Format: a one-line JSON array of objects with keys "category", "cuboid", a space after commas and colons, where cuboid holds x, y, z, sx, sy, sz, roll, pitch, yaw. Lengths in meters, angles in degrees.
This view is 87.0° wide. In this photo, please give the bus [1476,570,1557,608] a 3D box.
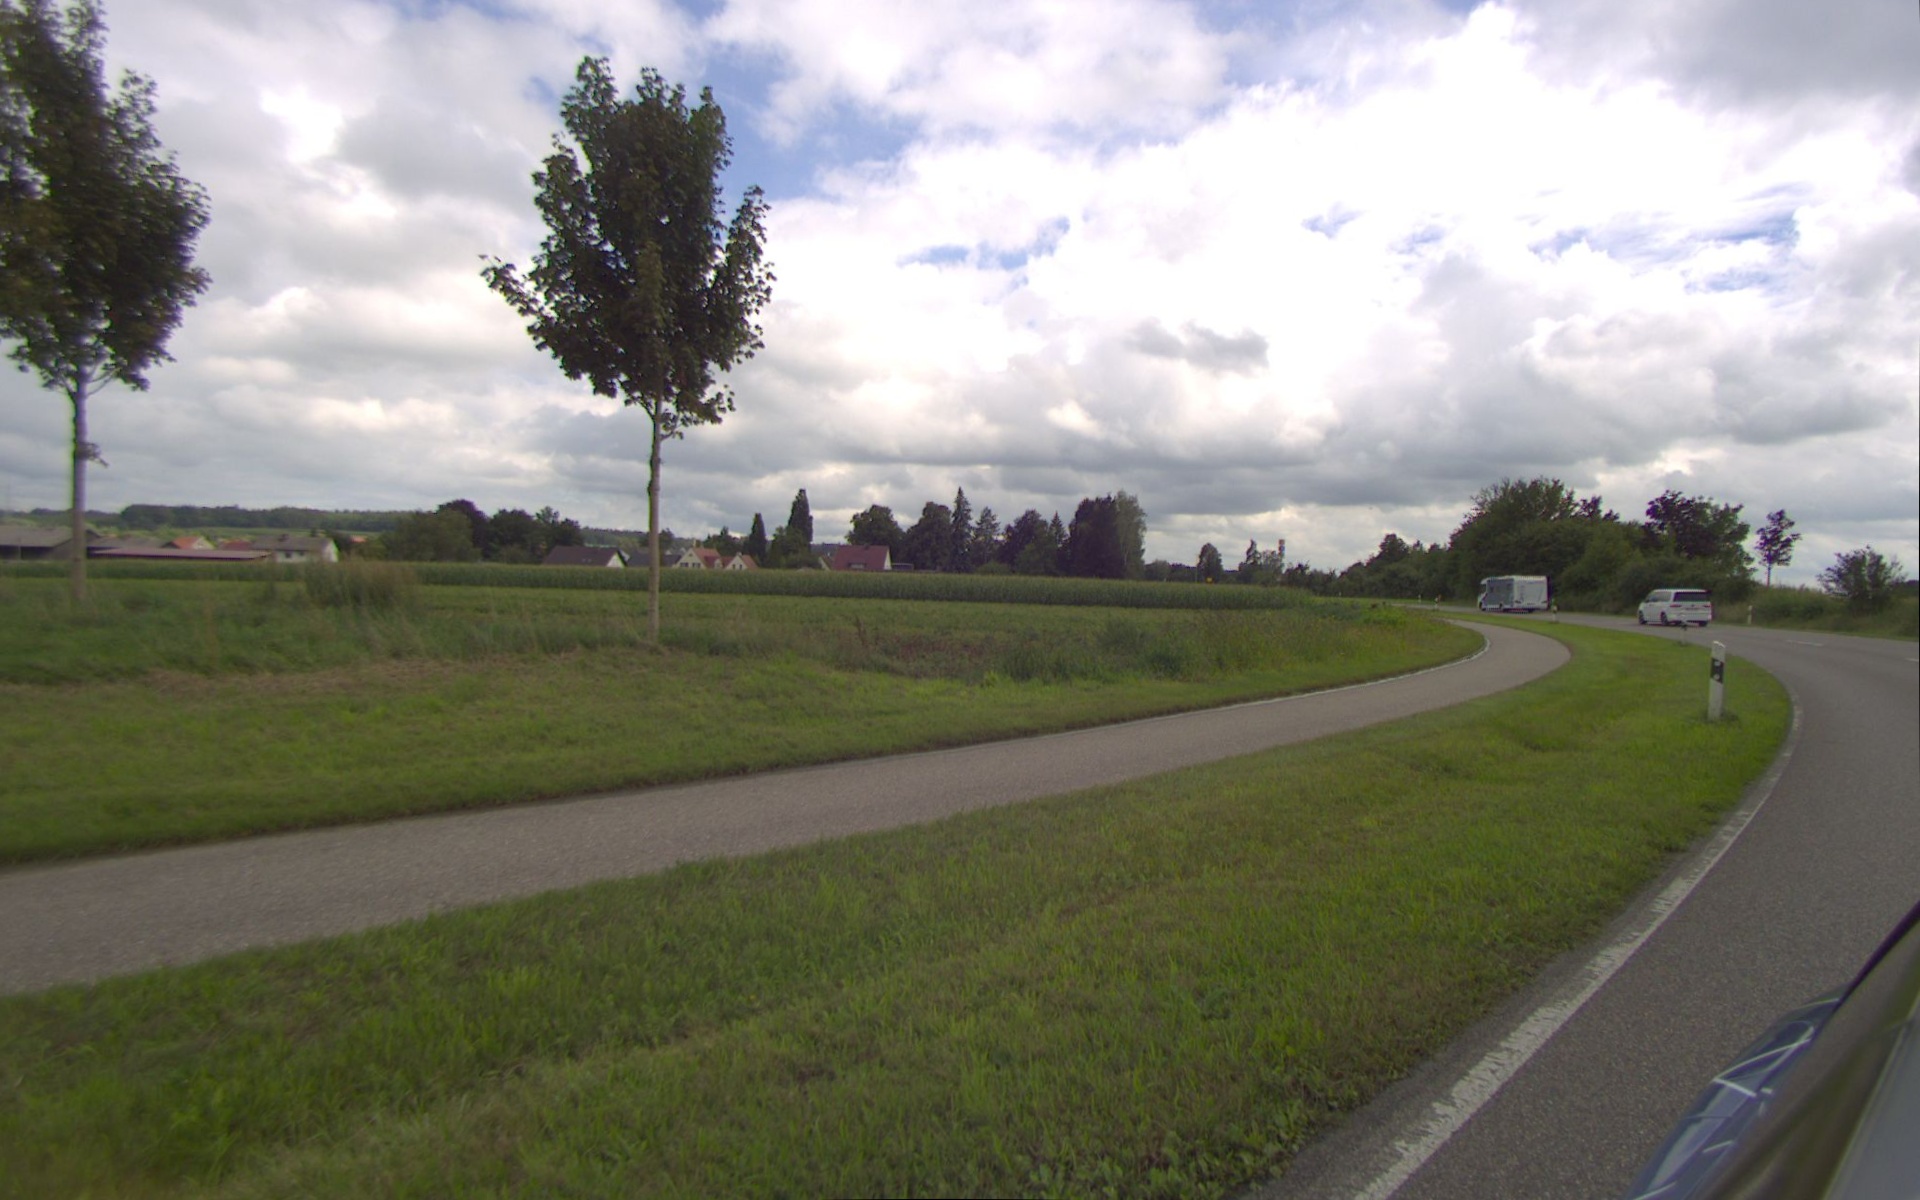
[{"category": "bus", "cuboid": [42.658, -0.878, 77.865, 2.440, 2.745, 8.415, 1, 1, 7]}]

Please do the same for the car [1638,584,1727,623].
[{"category": "car", "cuboid": [37.851, 0.133, 53.164, 2.090, 1.892, 5.162, 1, 1, 15]}]
